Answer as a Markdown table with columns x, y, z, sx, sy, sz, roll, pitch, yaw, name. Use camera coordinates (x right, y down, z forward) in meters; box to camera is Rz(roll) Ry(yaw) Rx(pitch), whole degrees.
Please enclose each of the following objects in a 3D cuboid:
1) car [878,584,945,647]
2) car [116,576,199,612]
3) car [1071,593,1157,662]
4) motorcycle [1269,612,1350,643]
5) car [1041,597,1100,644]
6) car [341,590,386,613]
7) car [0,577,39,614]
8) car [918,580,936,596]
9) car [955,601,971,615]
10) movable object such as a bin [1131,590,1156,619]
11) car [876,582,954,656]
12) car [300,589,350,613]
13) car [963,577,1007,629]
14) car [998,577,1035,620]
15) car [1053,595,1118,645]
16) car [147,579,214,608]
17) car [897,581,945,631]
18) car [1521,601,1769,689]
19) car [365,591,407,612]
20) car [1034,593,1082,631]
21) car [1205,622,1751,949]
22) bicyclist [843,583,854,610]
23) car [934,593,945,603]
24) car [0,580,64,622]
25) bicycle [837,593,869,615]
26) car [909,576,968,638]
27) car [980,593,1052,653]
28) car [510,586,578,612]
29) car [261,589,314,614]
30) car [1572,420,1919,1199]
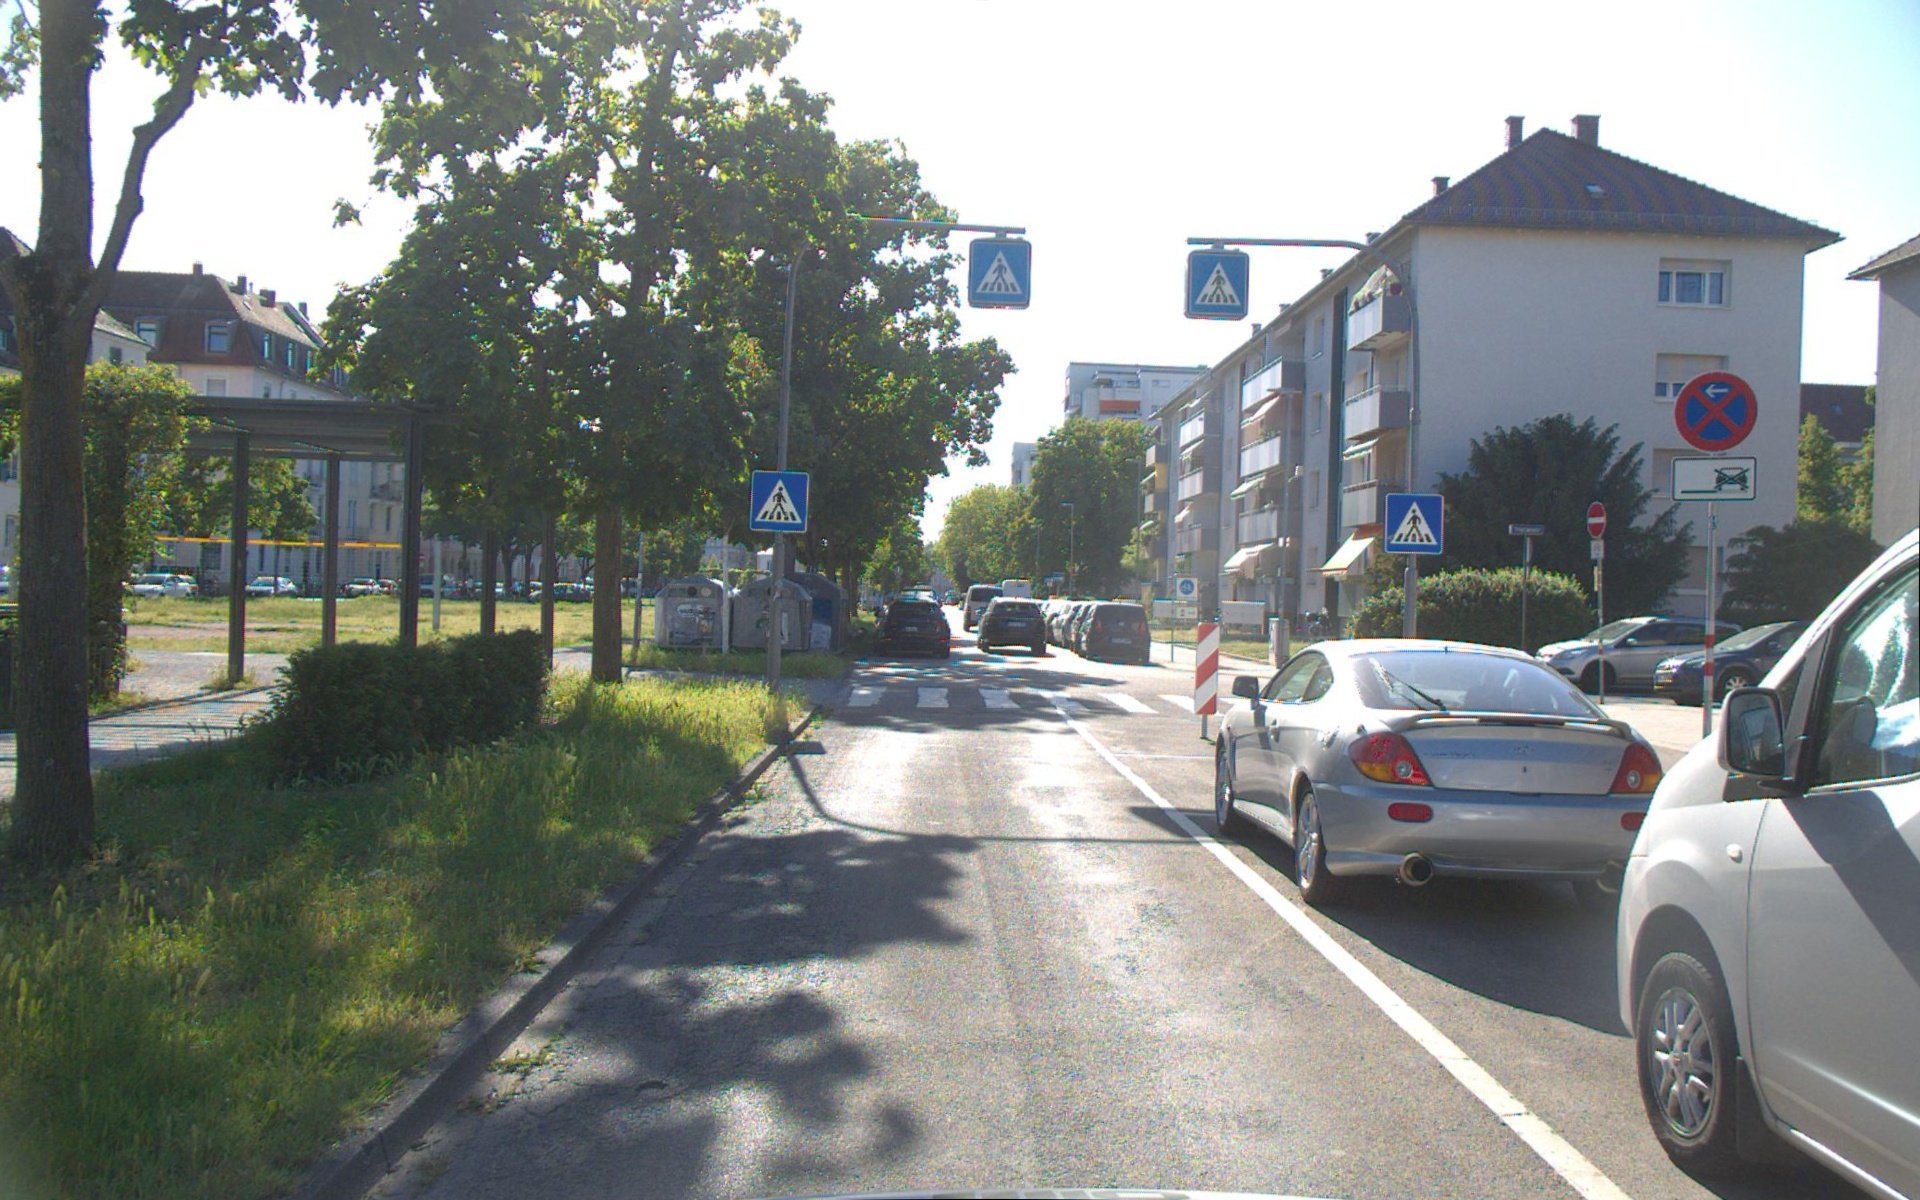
| x | y | z | sx | sy | sz | roll | pitch | yaw | name |
| --- | --- | --- | --- | --- | --- | --- | --- | --- | --- |
| -1.342 | 0.415 | 47.088 | 1.758 | 1.652 | 3.999 | 2 | 0 | -1 | car |
| -35.906 | -0.267 | 74.066 | 1.758 | 1.536 | 3.999 | 2 | 0 | -1 | car |
| 3.942 | 0.667 | 42.864 | 1.758 | 1.629 | 3.999 | 2 | 0 | -1 | car |
| 11.761 | 0.915 | 55.672 | 2.507 | 0.952 | 0.830 | 2 | 0 | -4 | motorcycle |
| 3.923 | 0.704 | 59.073 | 1.758 | 1.536 | 3.999 | 2 | 0 | -1 | car |
| -42.511 | 0.106 | 117.968 | 1.758 | 1.536 | 3.999 | 2 | 0 | -1 | car |
| -41.289 | -0.214 | 70.513 | 1.758 | 1.536 | 3.999 | 2 | 0 | -1 | car |
| -3.324 | -1.192 | 165.380 | 1.758 | 1.537 | 3.999 | 1 | 0 | -1 | car |
| 0.295 | 0.926 | 188.871 | 1.758 | 1.537 | 3.999 | 1 | 0 | -1 | car |
| 10.024 | 0.256 | 90.400 | 1.069 | 1.536 | 2.002 | 2 | 0 | -1 | movable object such as a bin |
| -1.079 | 0.437 | 40.617 | 1.758 | 1.652 | 3.999 | 2 | 0 | -1 | car |
| -42.795 | 0.061 | 111.524 | 1.758 | 1.536 | 4.143 | 2 | 0 | -1 | car |
| 1.068 | 0.110 | 72.763 | 1.758 | 2.159 | 3.999 | 2 | 0 | -1 | car |
| 3.429 | -0.108 | 101.365 | 1.953 | 2.472 | 4.499 | 3 | 0 | -1 | car |
| 4.050 | 0.620 | 53.908 | 1.758 | 1.536 | 3.999 | 2 | 0 | -1 | car |
| -42.334 | -0.355 | 89.909 | 1.758 | 1.536 | 3.999 | 2 | 0 | -1 | car |
| -1.619 | 0.234 | 69.734 | 1.953 | 2.049 | 3.999 | 1 | 0 | -1 | car |
| 14.100 | 0.923 | 34.174 | 4.391 | 1.651 | 1.798 | 2 | -2 | -4 | car |
| -42.834 | 0.094 | 123.430 | 1.758 | 1.536 | 3.999 | 2 | 0 | -1 | car |
| 4.159 | 0.481 | 70.771 | 1.758 | 1.536 | 3.999 | 2 | 0 | -1 | car |
| 2.612 | 0.854 | 9.425 | 1.729 | 1.342 | 4.167 | 3 | 0 | -1 | car |
| -7.998 | -0.246 | 118.448 | 0.755 | 1.954 | 0.630 | 1 | 0 | -5 | bicyclist |
| -3.164 | -0.298 | 256.759 | 1.758 | 1.537 | 3.999 | 1 | 0 | -1 | car |
| -35.878 | 0.016 | 62.582 | 1.758 | 1.536 | 3.999 | 2 | 0 | -1 | car |
| -7.673 | 0.299 | 118.483 | 2.277 | 1.567 | 0.630 | 1 | 0 | -5 | bicycle |
| -0.749 | 0.233 | 57.672 | 1.953 | 2.049 | 3.999 | 1 | 0 | -1 | car |
| 1.505 | 0.596 | 45.787 | 1.758 | 1.536 | 3.999 | 2 | 0 | -1 | car |
| -26.667 | -0.061 | 106.126 | 3.909 | 1.536 | 1.798 | 2 | 0 | -5 | car |
| -42.962 | 0.075 | 105.724 | 1.758 | 1.536 | 3.999 | 2 | 0 | -1 | car |
| 2.864 | 0.603 | 3.162 | 1.757 | 1.887 | 4.414 | 2 | 1 | 1 | car |
